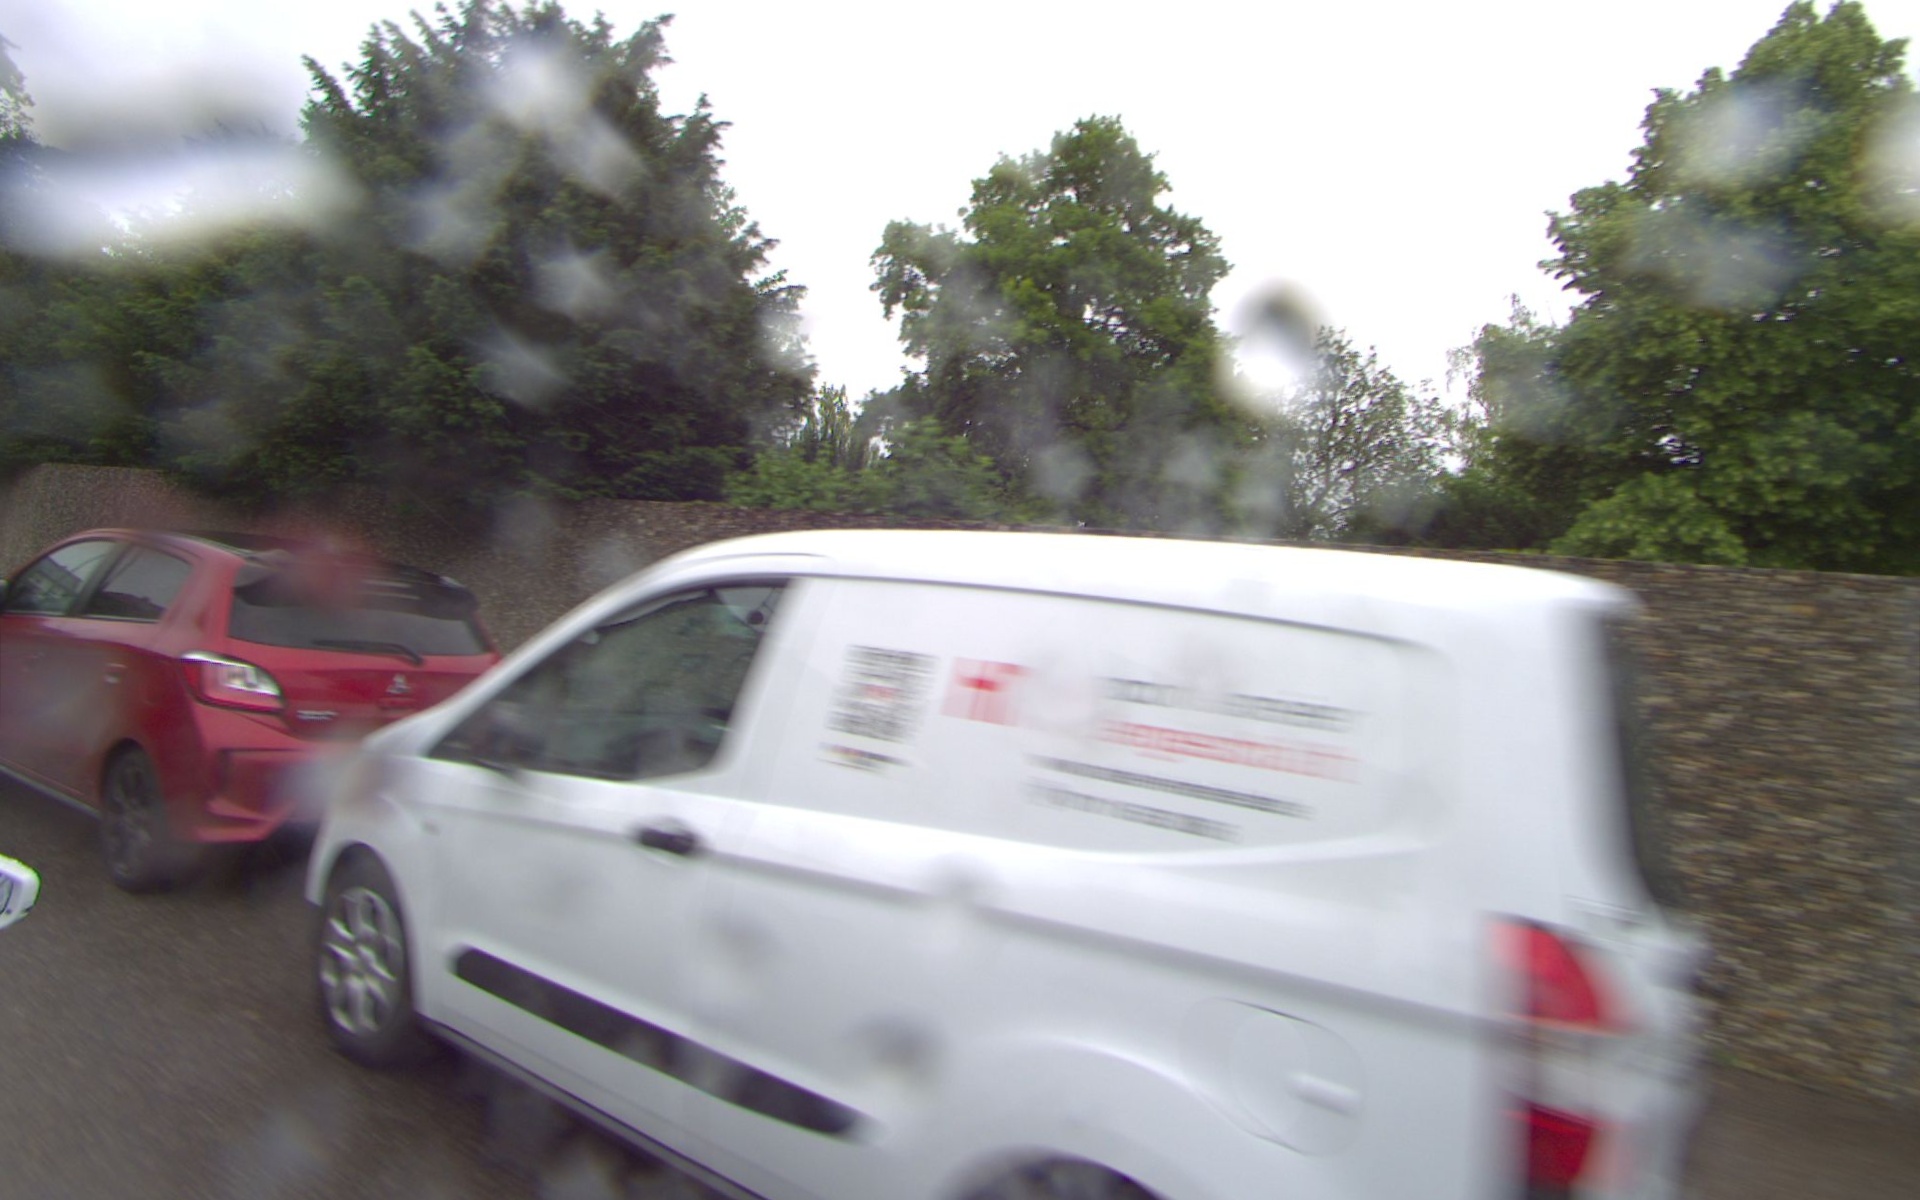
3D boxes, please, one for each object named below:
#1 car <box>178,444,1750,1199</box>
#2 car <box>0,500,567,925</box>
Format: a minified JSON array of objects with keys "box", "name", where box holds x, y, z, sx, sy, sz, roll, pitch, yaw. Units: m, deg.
[{"box":[-0.419,0.651,3.013,4.068,1.760,1.641,7,-3,33],"name":"car"},{"box":[-4.030,0.368,5.374,3.602,1.472,1.587,7,-1,30],"name":"car"}]
